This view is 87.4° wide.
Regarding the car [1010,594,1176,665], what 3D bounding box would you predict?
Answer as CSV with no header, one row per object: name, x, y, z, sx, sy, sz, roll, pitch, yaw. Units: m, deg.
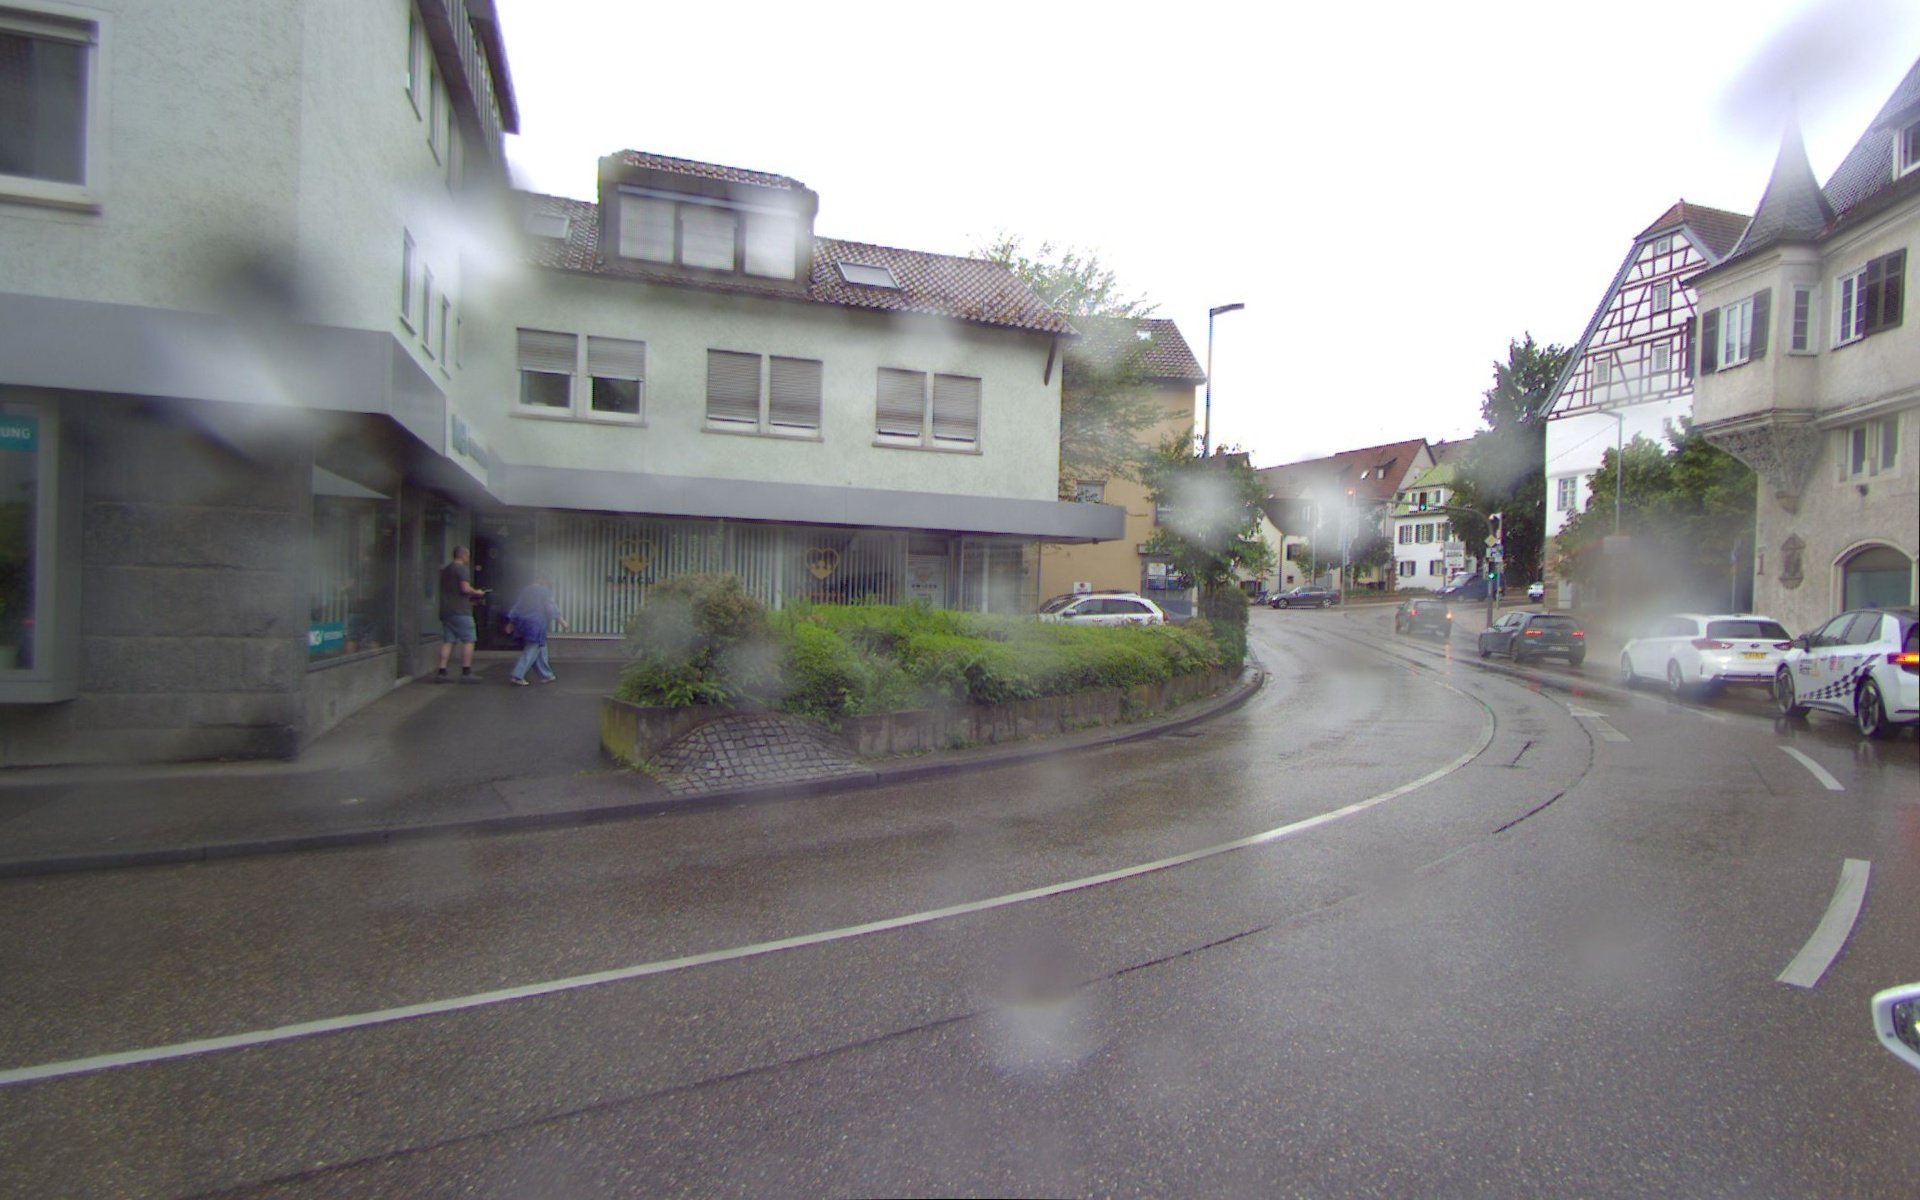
car,3.238,0.703,24.805,3.583,1.651,1.995,1,0,-13

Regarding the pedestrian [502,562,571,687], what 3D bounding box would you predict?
pedestrian,-5.920,0.330,14.038,0.851,1.694,0.614,1,1,-24

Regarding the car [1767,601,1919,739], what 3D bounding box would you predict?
car,11.801,0.786,12.440,1.827,1.492,3.997,1,0,24

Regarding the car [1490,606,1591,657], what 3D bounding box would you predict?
car,16.623,0.870,28.978,1.961,1.319,3.999,1,0,22

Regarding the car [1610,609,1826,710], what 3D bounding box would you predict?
car,13.914,0.997,18.776,1.853,1.617,4.327,1,0,17

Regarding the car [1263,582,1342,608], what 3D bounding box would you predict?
car,21.690,-0.286,63.723,4.404,1.566,1.864,1,0,4

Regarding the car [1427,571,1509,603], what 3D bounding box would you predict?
car,32.441,-0.817,64.182,4.296,1.907,1.998,1,0,-7

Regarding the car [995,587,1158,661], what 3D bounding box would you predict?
car,3.690,0.737,32.346,4.841,1.850,1.961,-5,3,-5

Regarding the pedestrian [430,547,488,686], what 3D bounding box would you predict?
pedestrian,-6.839,0.222,13.744,0.664,1.844,0.614,1,1,-25

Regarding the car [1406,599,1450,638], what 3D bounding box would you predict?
car,19.870,0.776,42.743,1.558,1.544,3.430,1,0,23

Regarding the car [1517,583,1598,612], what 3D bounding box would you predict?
car,35.749,-0.131,60.132,4.245,1.607,1.990,1,0,-21

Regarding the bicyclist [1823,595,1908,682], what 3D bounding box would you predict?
bicyclist,16.640,0.690,18.492,0.671,1.538,1.031,1,1,8

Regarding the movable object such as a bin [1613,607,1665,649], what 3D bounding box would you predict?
movable object such as a bin,22.530,0.911,33.348,1.135,1.330,1.186,1,1,20
